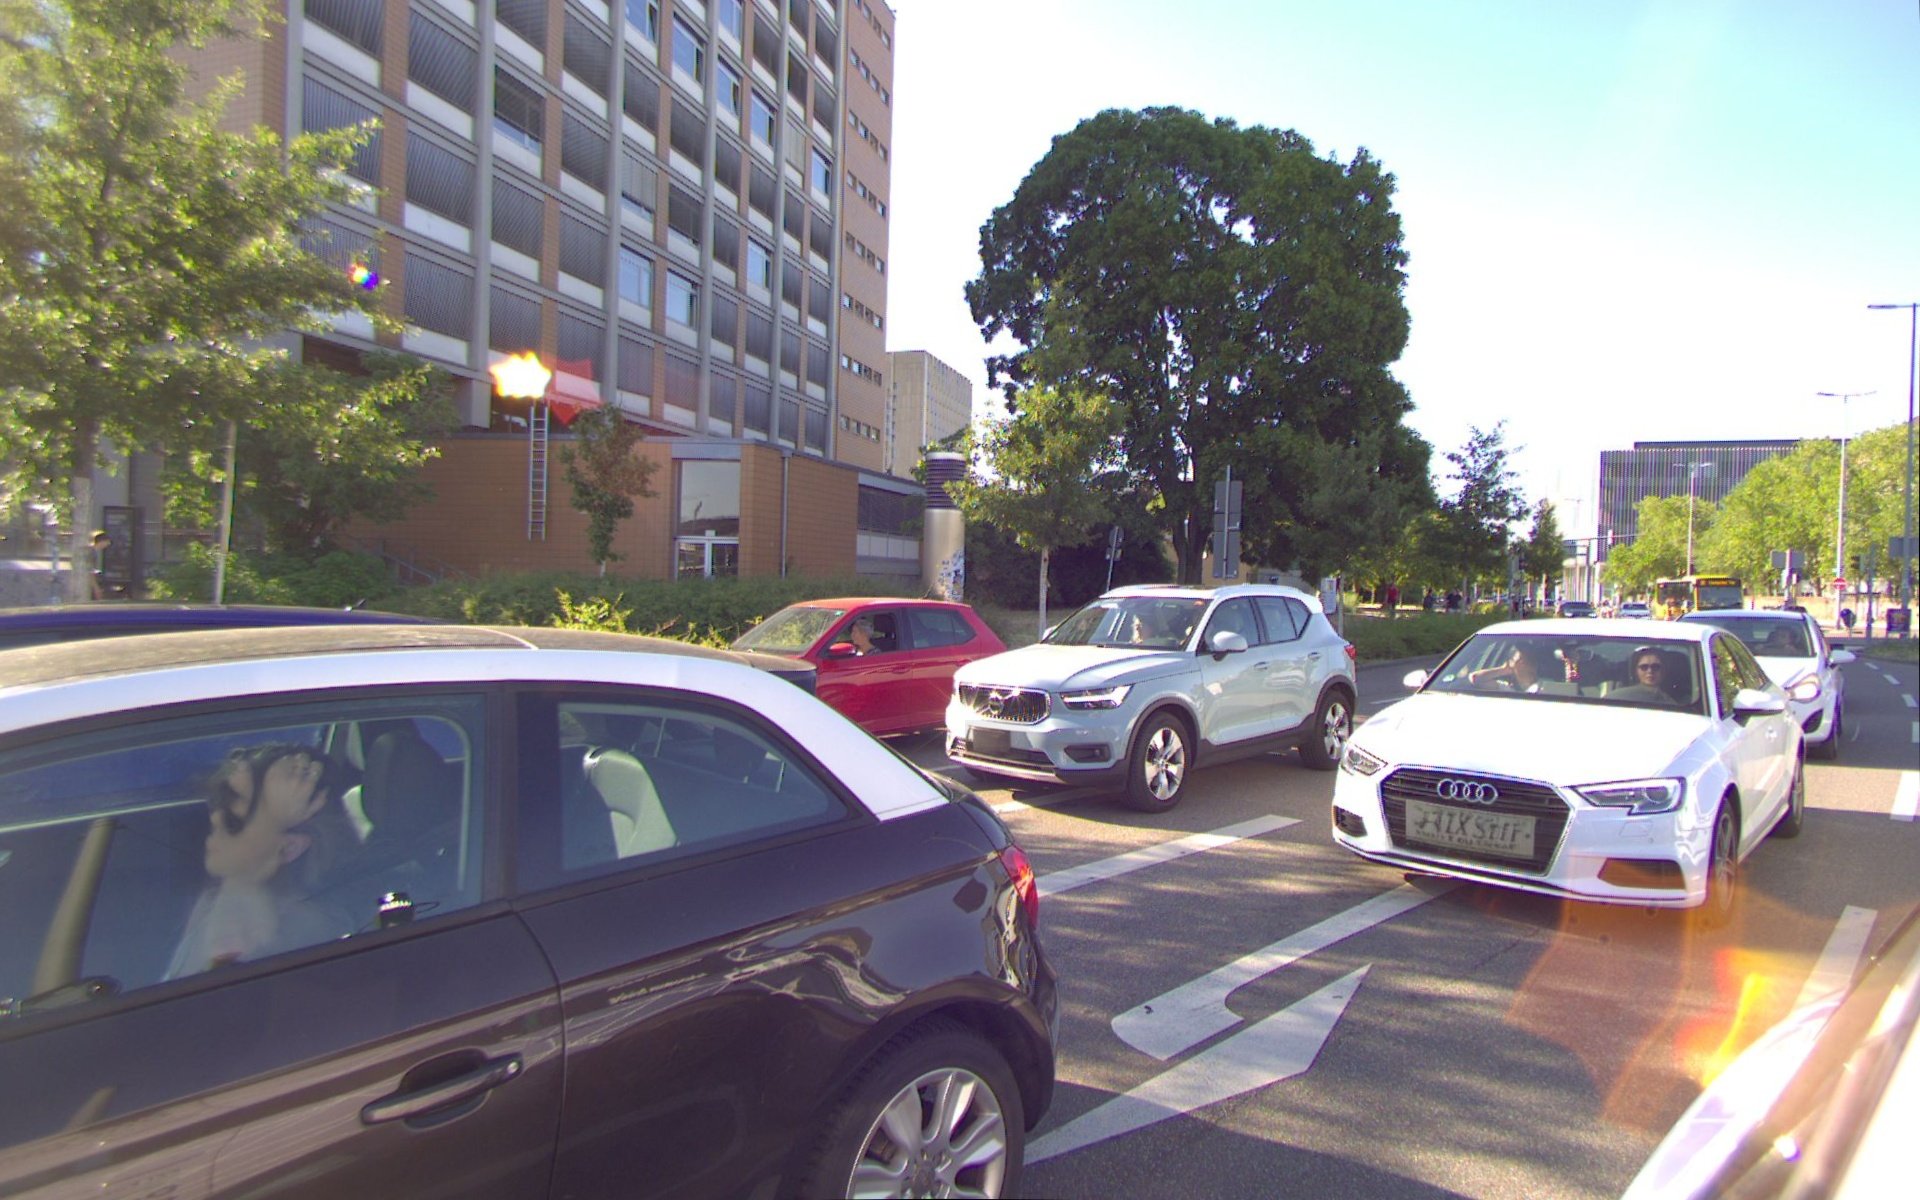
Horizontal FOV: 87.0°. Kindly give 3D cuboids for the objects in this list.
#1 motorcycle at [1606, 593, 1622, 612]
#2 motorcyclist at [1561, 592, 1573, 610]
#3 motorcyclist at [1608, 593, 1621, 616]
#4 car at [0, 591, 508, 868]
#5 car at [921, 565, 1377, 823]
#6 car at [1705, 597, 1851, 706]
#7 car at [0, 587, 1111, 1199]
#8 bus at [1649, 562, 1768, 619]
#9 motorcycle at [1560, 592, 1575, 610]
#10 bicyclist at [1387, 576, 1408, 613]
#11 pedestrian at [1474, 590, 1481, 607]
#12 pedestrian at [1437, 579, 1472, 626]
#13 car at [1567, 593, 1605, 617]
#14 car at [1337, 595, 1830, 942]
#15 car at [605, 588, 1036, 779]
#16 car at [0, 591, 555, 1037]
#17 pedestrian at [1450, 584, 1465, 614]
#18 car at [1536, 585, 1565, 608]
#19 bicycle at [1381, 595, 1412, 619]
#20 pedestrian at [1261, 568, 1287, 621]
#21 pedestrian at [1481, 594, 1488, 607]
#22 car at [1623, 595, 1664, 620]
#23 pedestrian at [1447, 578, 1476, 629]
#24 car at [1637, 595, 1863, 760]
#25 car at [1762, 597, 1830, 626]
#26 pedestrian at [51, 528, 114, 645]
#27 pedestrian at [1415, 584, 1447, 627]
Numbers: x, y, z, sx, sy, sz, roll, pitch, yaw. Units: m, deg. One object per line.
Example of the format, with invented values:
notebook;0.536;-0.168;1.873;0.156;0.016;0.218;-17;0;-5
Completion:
motorcycle;47.047;0.143;72.839;0.711;1.321;2.215;0;0;26
motorcyclist;44.796;0.068;74.670;0.711;1.321;0.729;0;0;27
motorcyclist;47.023;0.321;72.745;0.704;1.610;0.684;0;0;27
car;-5.299;0.666;6.074;4.434;1.422;1.725;-1;0;-42
car;1.769;0.573;8.464;4.153;1.641;1.625;-1;0;-43
car;13.106;0.715;16.126;1.622;1.478;3.981;0;0;42
car;-1.664;0.697;1.648;3.930;1.422;1.626;-1;0;-41
bus;47.408;-0.606;64.615;3.051;3.252;12.451;0;0;22
motorcycle;44.865;0.065;74.796;0.710;1.321;2.216;0;0;25
bicyclist;19.114;-0.231;44.181;0.615;1.580;0.858;0;0;41
pedestrian;49.647;-0.145;97.049;0.475;1.706;0.399;1;1;-41
pedestrian;22.020;0.097;45.073;1.137;2.039;1.268;0;0;39
car;39.881;0.286;64.505;1.740;1.478;4.149;0;0;27
car;3.941;0.693;6.125;3.769;1.422;1.625;-1;0;-43
car;-1.197;0.633;9.849;3.974;1.478;1.625;-1;0;-43
car;-3.765;0.688;3.726;3.930;1.422;1.626;-1;0;-41
pedestrian;35.133;-0.076;71.485;0.846;2.039;0.824;0;0;34
car;47.217;-0.277;80.918;1.730;1.727;3.962;2;1;27
bicycle;19.066;0.303;44.160;0.657;0.975;2.005;2;2;41
pedestrian;9.670;-0.170;31.151;0.593;1.615;0.586;0;0;41
pedestrian;50.898;0.063;98.204;0.487;1.254;0.439;1;1;-41
car;42.870;0.439;63.547;1.741;1.478;4.146;0;0;29
pedestrian;20.477;0.141;41.295;0.891;2.039;0.870;0;0;39
car;8.868;0.693;11.231;1.623;1.478;3.979;0;0;43
car;62.121;0.820;75.311;1.965;2.039;3.994;0;0;5
pedestrian;-14.678;-0.228;16.933;0.681;1.910;0.465;0;0;-24
pedestrian;19.311;0.219;41.474;1.005;1.742;0.873;0;0;39
